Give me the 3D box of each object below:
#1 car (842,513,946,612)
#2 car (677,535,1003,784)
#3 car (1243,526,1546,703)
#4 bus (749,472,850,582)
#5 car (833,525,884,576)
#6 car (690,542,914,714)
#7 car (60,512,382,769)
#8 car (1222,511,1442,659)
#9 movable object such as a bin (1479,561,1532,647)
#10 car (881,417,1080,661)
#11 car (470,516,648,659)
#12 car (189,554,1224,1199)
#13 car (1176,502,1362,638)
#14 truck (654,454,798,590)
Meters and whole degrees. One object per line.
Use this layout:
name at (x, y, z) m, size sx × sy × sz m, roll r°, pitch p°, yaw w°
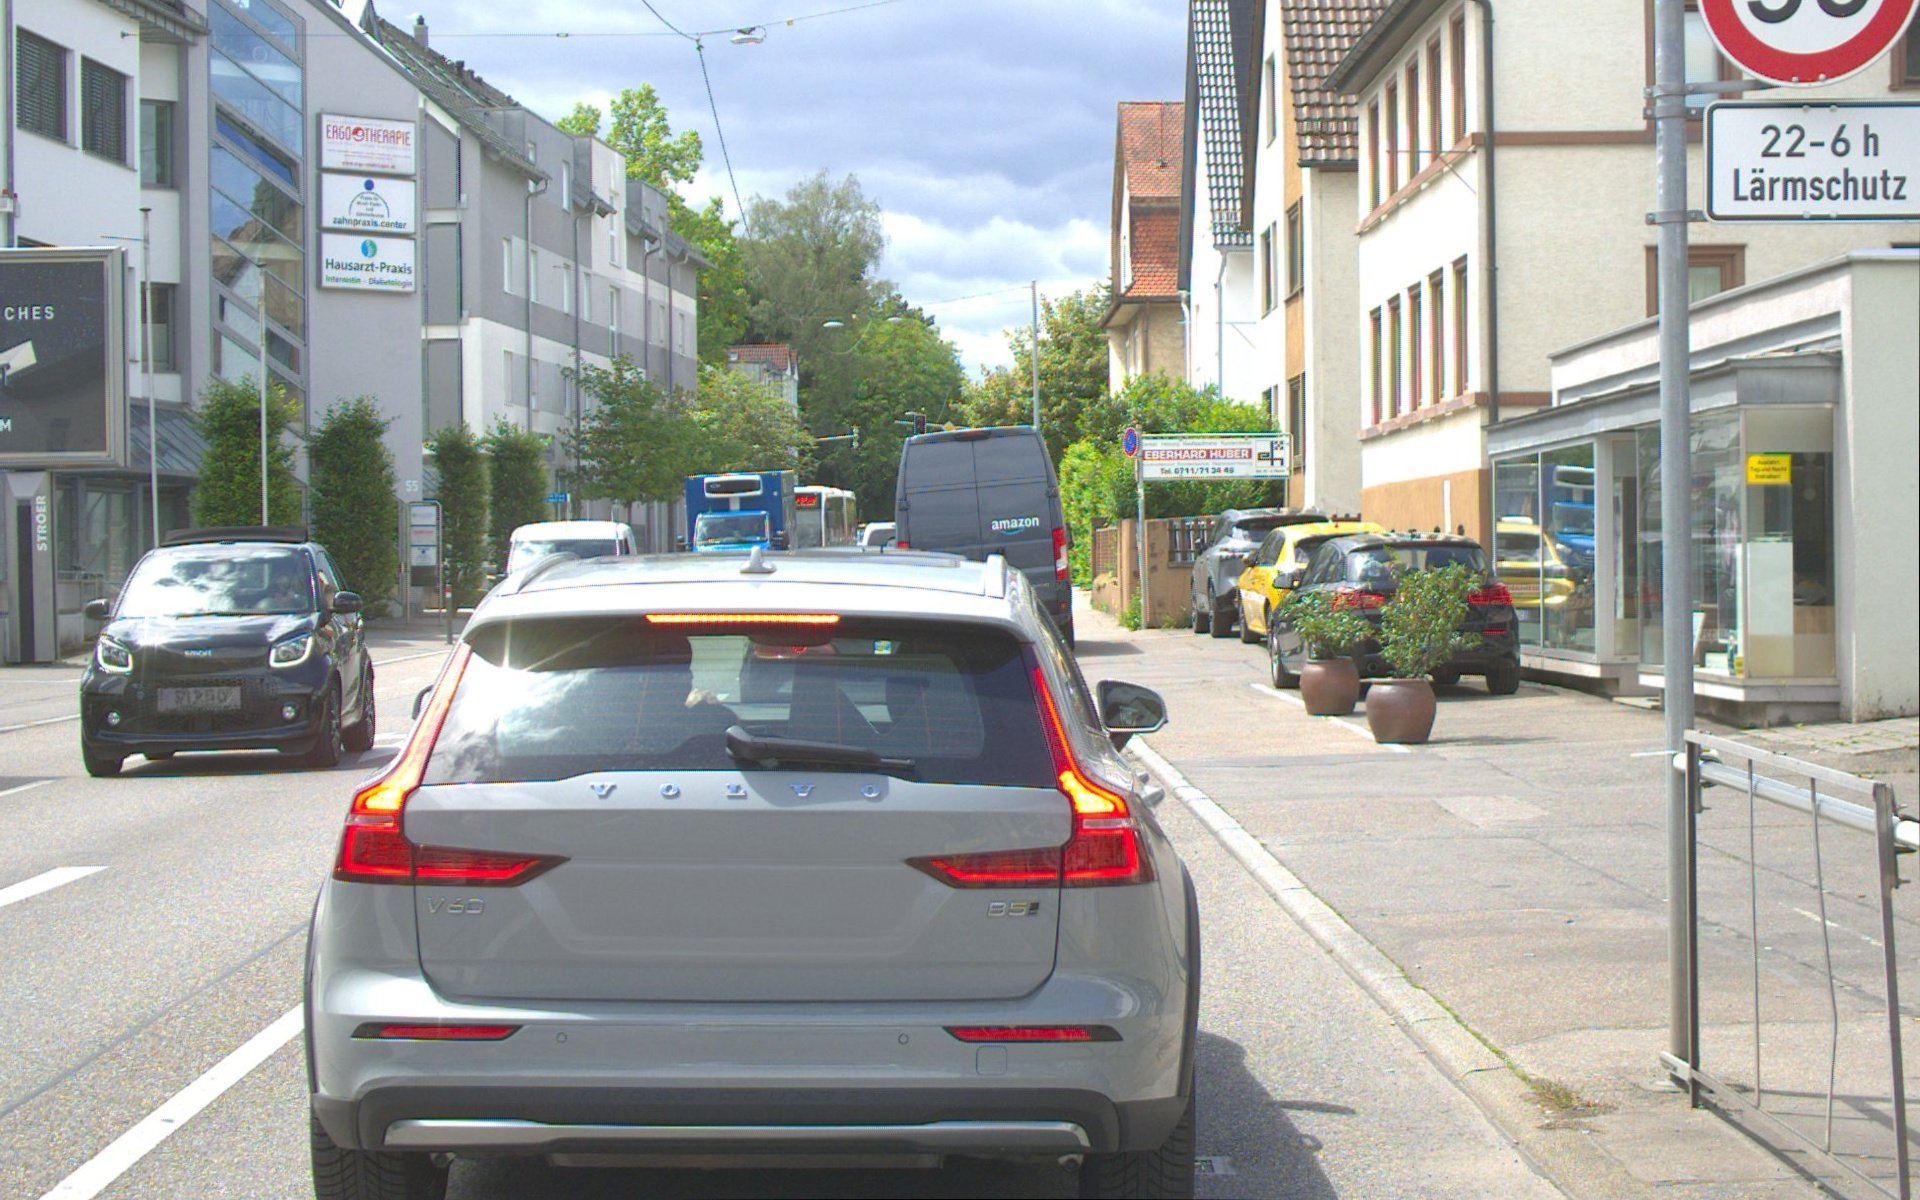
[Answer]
car at (-1.347, -0.807, 71.905) m, size 1.993 × 2.007 × 4.000 m, roll 0°, pitch 1°, yaw 1°
car at (-0.677, 0.309, 22.059) m, size 1.896 × 1.441 × 3.969 m, roll 0°, pitch 1°, yaw 1°
car at (3.847, 0.078, 31.188) m, size 1.968 × 1.442 × 4.536 m, roll -1°, pitch 1°, yaw -2°
bus at (-4.801, -2.202, 104.533) m, size 2.682 × 3.153 × 10.185 m, roll -1°, pitch 1°, yaw -1°
car at (-4.360, -2.123, 148.237) m, size 2.105 × 2.114 × 4.766 m, roll -2°, pitch 1°, yaw -1°
car at (-1.448, 0.203, 31.158) m, size 1.896 × 1.441 × 3.969 m, roll 0°, pitch 1°, yaw -3°
car at (-5.011, 0.235, 23.622) m, size 1.676 × 1.629 × 2.834 m, roll -1°, pitch 1°, yaw -2°
car at (4.233, -0.223, 39.695) m, size 1.877 × 1.442 × 4.308 m, roll -1°, pitch 3°, yaw -2°
movable object such as a bin at (5.968, 0.044, 37.616) m, size 0.501 × 0.922 × 0.598 m, roll -1°, pitch 1°, yaw 3°
car at (0.215, -0.761, 42.697) m, size 2.252 × 2.786 × 5.569 m, roll -1°, pitch 1°, yaw -1°
car at (-5.384, -0.204, 46.633) m, size 1.945 × 1.814 × 4.279 m, roll -1°, pitch 1°, yaw -1°
car at (-0.427, 0.634, 8.285) m, size 1.896 × 1.448 × 3.968 m, roll 0°, pitch 1°, yaw 1°
car at (3.932, -0.422, 44.480) m, size 1.860 × 1.606 × 4.586 m, roll -2°, pitch 1°, yaw -1°
truck at (-5.597, -1.867, 83.390) m, size 2.853 × 3.082 × 8.089 m, roll -1°, pitch 1°, yaw 0°
